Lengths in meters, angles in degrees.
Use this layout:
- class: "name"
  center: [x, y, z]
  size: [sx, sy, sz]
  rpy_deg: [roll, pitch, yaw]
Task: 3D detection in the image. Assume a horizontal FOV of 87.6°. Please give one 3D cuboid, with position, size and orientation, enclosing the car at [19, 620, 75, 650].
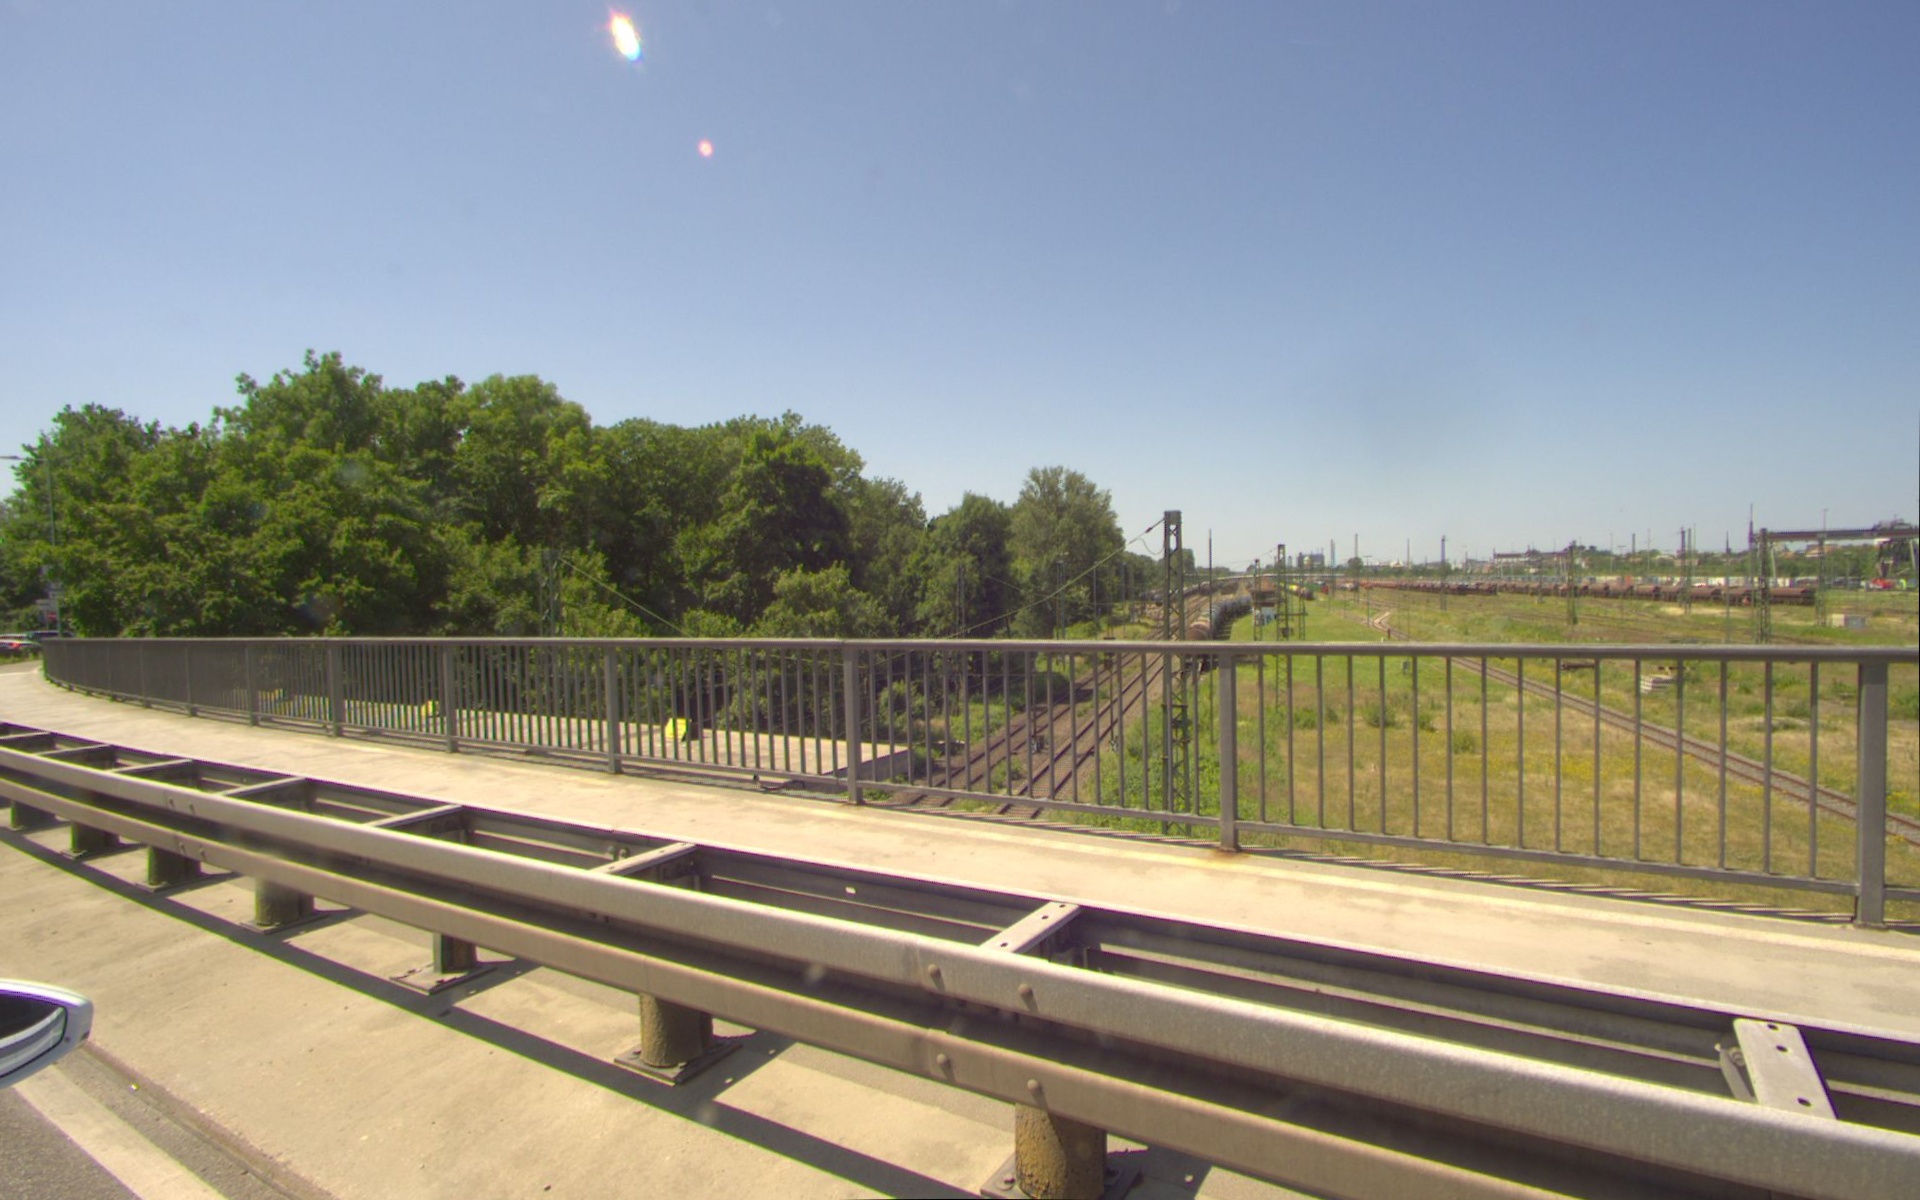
- class: "car"
  center: [-56.303, 2.142, 61.805]
  size: [1.666, 1.783, 3.982]
  rpy_deg: [0, -2, -29]

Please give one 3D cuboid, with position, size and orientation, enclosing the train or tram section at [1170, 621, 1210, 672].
- class: "train or tram section"
  center: [24.666, 4.845, 106.967]
  size: [3.781, 4.366, 13.612]
  rpy_deg: [-2, 1, 14]

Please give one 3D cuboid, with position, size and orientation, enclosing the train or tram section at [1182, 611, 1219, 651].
- class: "train or tram section"
  center: [32.107, 4.050, 133.155]
  size: [3.783, 4.366, 13.603]
  rpy_deg: [-2, 1, 18]

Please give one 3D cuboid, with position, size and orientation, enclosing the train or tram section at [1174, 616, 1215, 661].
- class: "train or tram section"
  center: [28.214, 4.455, 120.149]
  size: [3.783, 4.366, 13.605]
  rpy_deg: [-2, 1, 17]

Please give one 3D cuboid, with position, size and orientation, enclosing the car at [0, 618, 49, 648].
- class: "car"
  center: [-52.959, 1.870, 56.118]
  size: [1.972, 1.594, 3.981]
  rpy_deg: [2, -4, -31]
